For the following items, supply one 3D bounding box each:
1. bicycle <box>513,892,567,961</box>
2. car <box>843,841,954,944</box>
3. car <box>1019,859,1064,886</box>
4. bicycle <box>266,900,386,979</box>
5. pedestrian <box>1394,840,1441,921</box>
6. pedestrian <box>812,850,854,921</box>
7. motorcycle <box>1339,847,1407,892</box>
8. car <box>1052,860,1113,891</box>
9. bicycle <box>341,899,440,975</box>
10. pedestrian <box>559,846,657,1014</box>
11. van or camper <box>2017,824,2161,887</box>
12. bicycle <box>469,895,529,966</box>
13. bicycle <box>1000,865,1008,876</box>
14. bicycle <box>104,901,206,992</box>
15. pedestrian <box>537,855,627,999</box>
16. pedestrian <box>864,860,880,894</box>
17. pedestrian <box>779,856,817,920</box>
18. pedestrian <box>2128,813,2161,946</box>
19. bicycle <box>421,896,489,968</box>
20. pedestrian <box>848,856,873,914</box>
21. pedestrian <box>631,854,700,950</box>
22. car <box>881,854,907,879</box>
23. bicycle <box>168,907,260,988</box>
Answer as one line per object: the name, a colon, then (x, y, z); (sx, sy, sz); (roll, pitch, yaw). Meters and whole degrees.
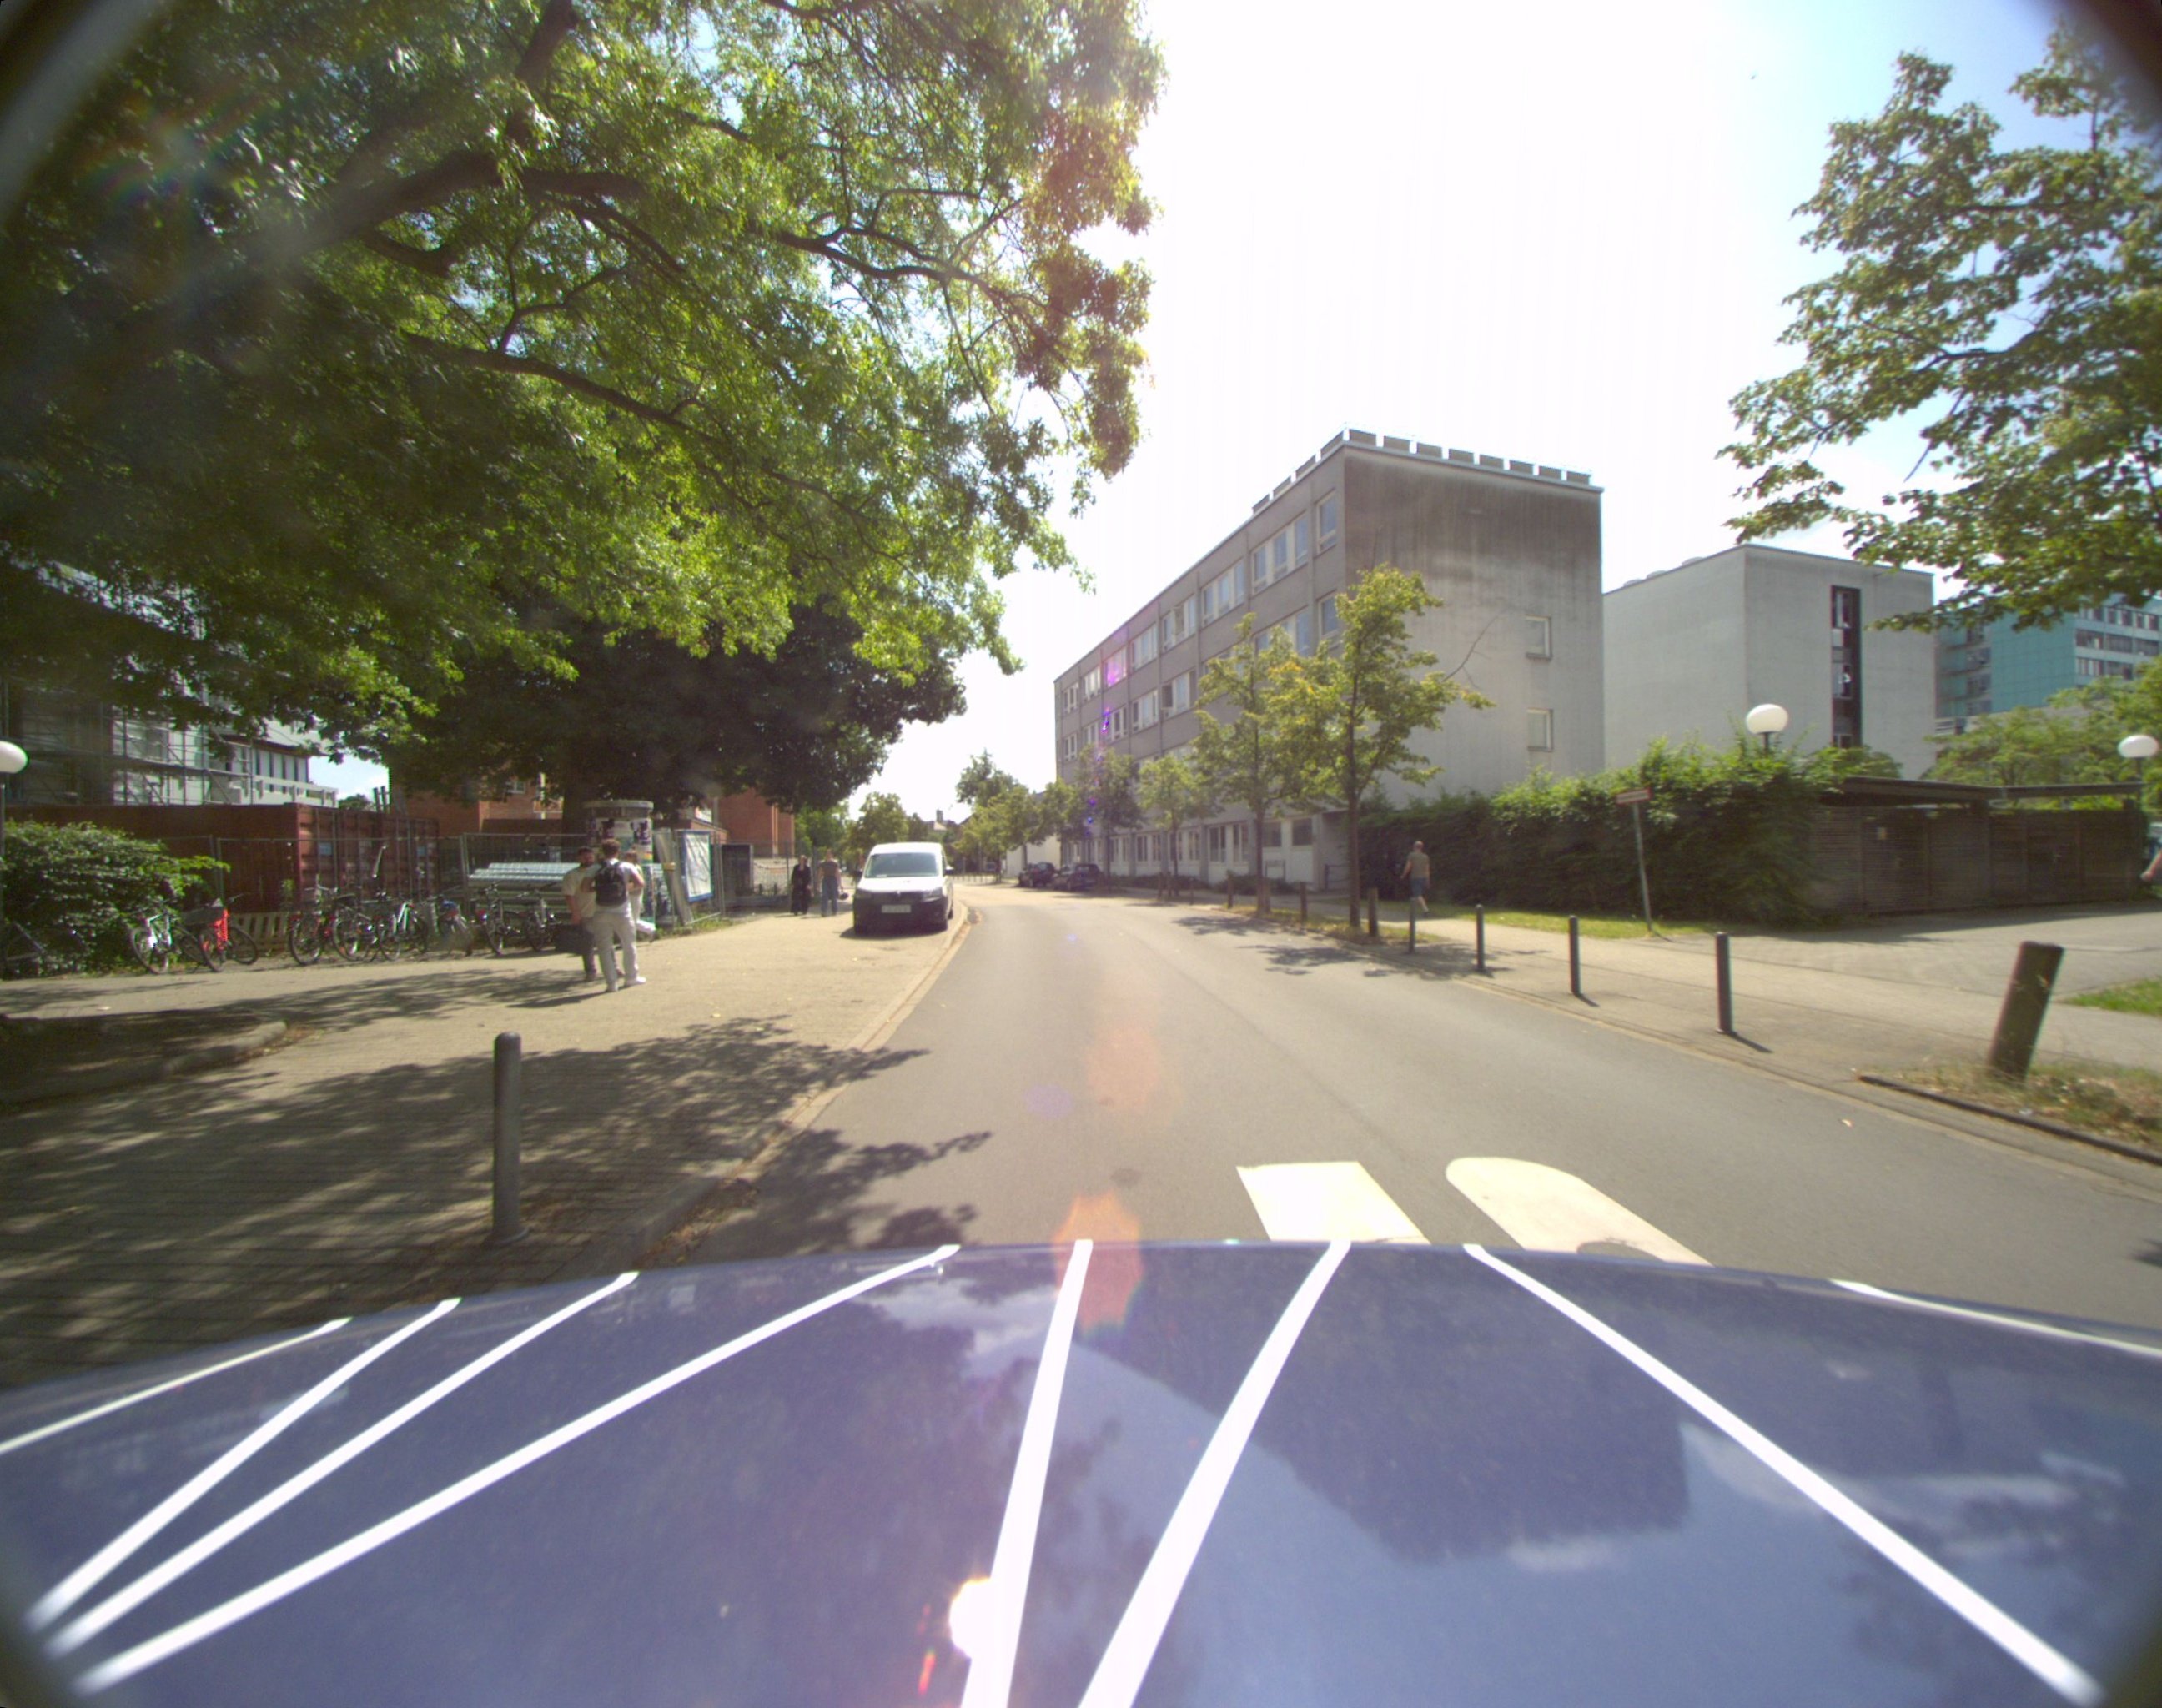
bicycle: (-9.140, 1.190, 12.888); (0.515, 1.010, 1.804); (0, 0, -28)
car: (-3.772, 0.719, 16.499); (1.854, 1.880, 4.887); (-1, 0, -8)
car: (-2.498, 1.128, 47.035); (1.704, 1.555, 4.061); (-1, 0, -20)
bicycle: (-11.572, 1.274, 11.719); (0.514, 1.010, 1.806); (0, 0, -17)
pedestrian: (7.515, 0.579, 17.001); (0.585, 1.754, 0.911); (-1, 0, -3)
pedestrian: (-6.294, 0.790, 19.318); (0.852, 1.753, 0.715); (-1, 0, -7)
motorcycle: (10.660, 0.543, 27.724); (2.104, 1.541, 1.080); (-1, 0, -21)
car: (0.009, 1.067, 39.000); (1.785, 1.452, 4.252); (-3, 0, -20)
bicycle: (-10.907, 1.277, 12.071); (0.515, 1.010, 1.805); (0, 0, -20)
pedestrian: (-5.362, 0.820, 8.631); (0.628, 1.811, 0.725); (-1, 1, 36)
van or camper: (30.158, 0.038, 21.614); (1.758, 1.729, 4.094); (-1, 0, -21)
bicycle: (-9.705, 1.245, 12.723); (0.515, 1.010, 1.804); (0, 0, -28)
bicycle: (-7.282, 1.565, 71.920); (0.545, 1.055, 1.897); (-1, 0, -13)
bicycle: (-12.998, 1.253, 10.717); (0.501, 1.071, 1.803); (0, 0, -37)
pedestrian: (-6.198, 0.866, 9.449); (0.562, 1.700, 0.747); (-1, 1, 36)
pedestrian: (-11.161, 1.225, 40.564); (0.698, 1.770, 0.785); (-1, 0, -26)
pedestrian: (-7.217, 0.843, 19.399); (0.670, 1.590, 0.984); (-1, 0, -7)
pedestrian: (14.187, 0.324, 9.739); (0.617, 1.710, 0.689); (-1, 0, -9)
bicycle: (-10.262, 1.243, 12.510); (0.515, 1.010, 1.804); (0, 0, -28)
pedestrian: (-6.395, 0.882, 22.005); (0.652, 1.656, 0.903); (-1, 0, -16)
pedestrian: (-7.241, 0.825, 13.262); (0.714, 1.622, 0.712); (-1, 0, 14)
car: (-20.195, 1.361, 82.053); (2.068, 2.528, 5.840); (-1, 0, -20)
bicycle: (-12.499, 1.310, 11.003); (0.515, 0.951, 1.803); (0, 0, -37)
